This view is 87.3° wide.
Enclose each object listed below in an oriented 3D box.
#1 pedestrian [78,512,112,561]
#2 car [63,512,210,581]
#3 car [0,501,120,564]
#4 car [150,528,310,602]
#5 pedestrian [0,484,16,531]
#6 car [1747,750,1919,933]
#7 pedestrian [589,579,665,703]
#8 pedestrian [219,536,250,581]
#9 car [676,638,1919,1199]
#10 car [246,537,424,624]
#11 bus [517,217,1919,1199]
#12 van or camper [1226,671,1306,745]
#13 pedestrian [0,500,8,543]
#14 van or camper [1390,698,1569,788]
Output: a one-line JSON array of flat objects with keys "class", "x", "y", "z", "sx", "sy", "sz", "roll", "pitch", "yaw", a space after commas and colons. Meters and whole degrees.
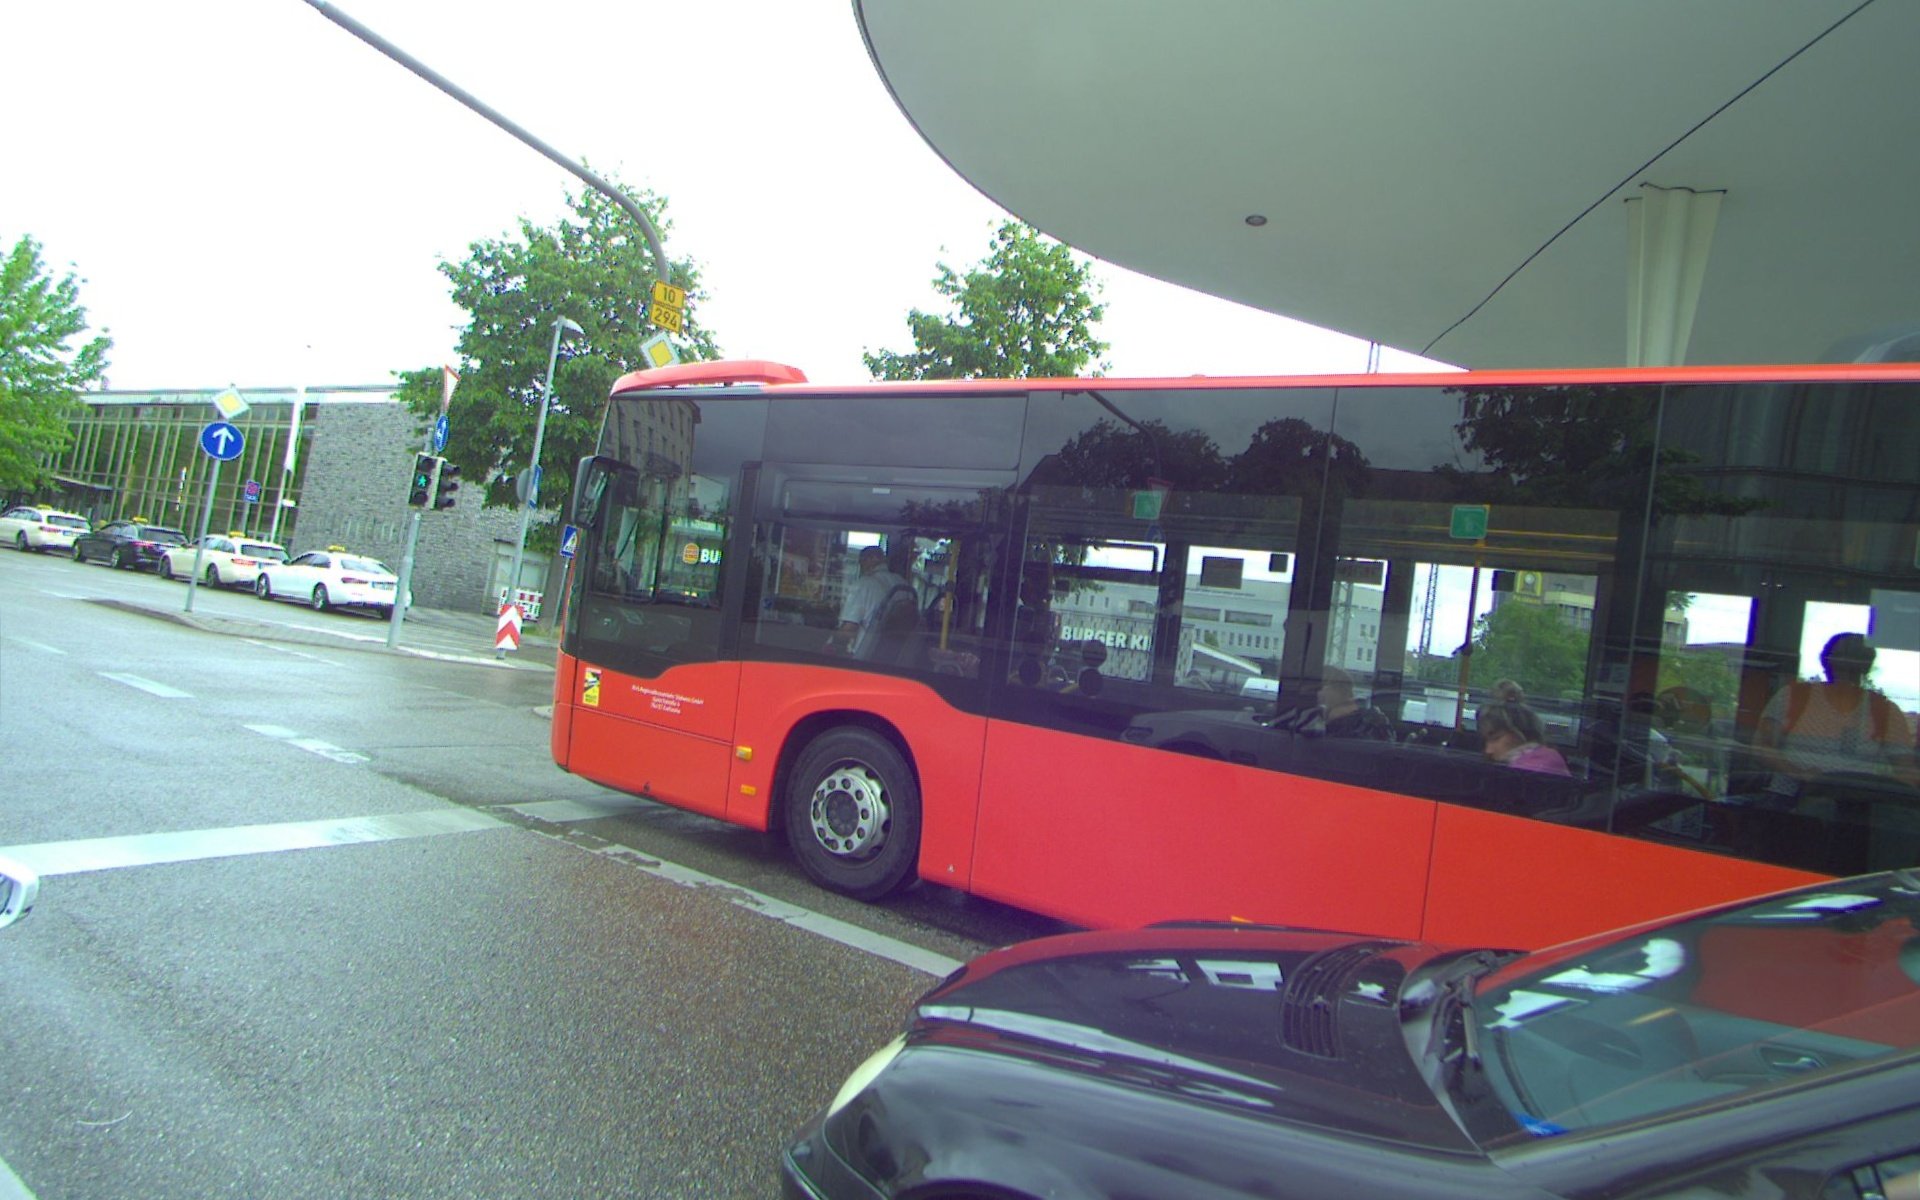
[{"class": "pedestrian", "x": -32.873, "y": -2.415, "z": 38.225, "sx": 0.703, "sy": 1.729, "sz": 0.566, "roll": 7, "pitch": -1, "yaw": 27}, {"class": "car", "x": -25.825, "y": -1.700, "z": 31.518, "sx": 4.661, "sy": 1.542, "sz": 1.918, "roll": 7, "pitch": -2, "yaw": 30}, {"class": "car", "x": -31.420, "y": -2.376, "z": 34.529, "sx": 4.736, "sy": 1.618, "sz": 2.000, "roll": 7, "pitch": -2, "yaw": 25}, {"class": "car", "x": -20.618, "y": -1.004, "z": 28.376, "sx": 4.588, "sy": 1.468, "sz": 1.851, "roll": 7, "pitch": -2, "yaw": 30}, {"class": "pedestrian", "x": -52.523, "y": -5.096, "z": 55.022, "sx": 0.848, "sy": 2.439, "sz": 0.844, "roll": 7, "pitch": -1, "yaw": 34}, {"class": "car", "x": 11.244, "y": 2.803, "z": 10.557, "sx": 4.360, "sy": 1.666, "sz": 1.806, "roll": 7, "pitch": -4, "yaw": 32}, {"class": "pedestrian", "x": -4.929, "y": 0.602, "z": 14.950, "sx": 0.798, "sy": 1.693, "sz": 0.711, "roll": 8, "pitch": -1, "yaw": -14}, {"class": "pedestrian", "x": -28.744, "y": -1.628, "z": 39.843, "sx": 0.703, "sy": 1.665, "sz": 0.565, "roll": 7, "pitch": -1, "yaw": 27}, {"class": "car", "x": 1.822, "y": 1.128, "z": 1.426, "sx": 4.361, "sy": 1.495, "sz": 1.752, "roll": 6, "pitch": -5, "yaw": 31}, {"class": "car", "x": -15.840, "y": -0.507, "z": 25.449, "sx": 4.538, "sy": 1.608, "sz": 1.779, "roll": 7, "pitch": -2, "yaw": 30}, {"class": "bus", "x": 2.174, "y": 0.340, "z": 5.286, "sx": 10.026, "sy": 3.210, "sz": 2.749, "roll": 7, "pitch": -2, "yaw": 32}, {"class": "van or camper", "x": 12.552, "y": 4.409, "z": 41.006, "sx": 2.072, "sy": 2.491, "sz": 5.975, "roll": 7, "pitch": -3, "yaw": 25}, {"class": "pedestrian", "x": -46.361, "y": -3.823, "z": 48.117, "sx": 0.814, "sy": 2.037, "sz": 0.771, "roll": 7, "pitch": -1, "yaw": 30}, {"class": "van or camper", "x": 20.351, "y": 5.546, "z": 39.538, "sx": 5.873, "sy": 2.491, "sz": 2.108, "roll": 7, "pitch": -2, "yaw": 32}]
